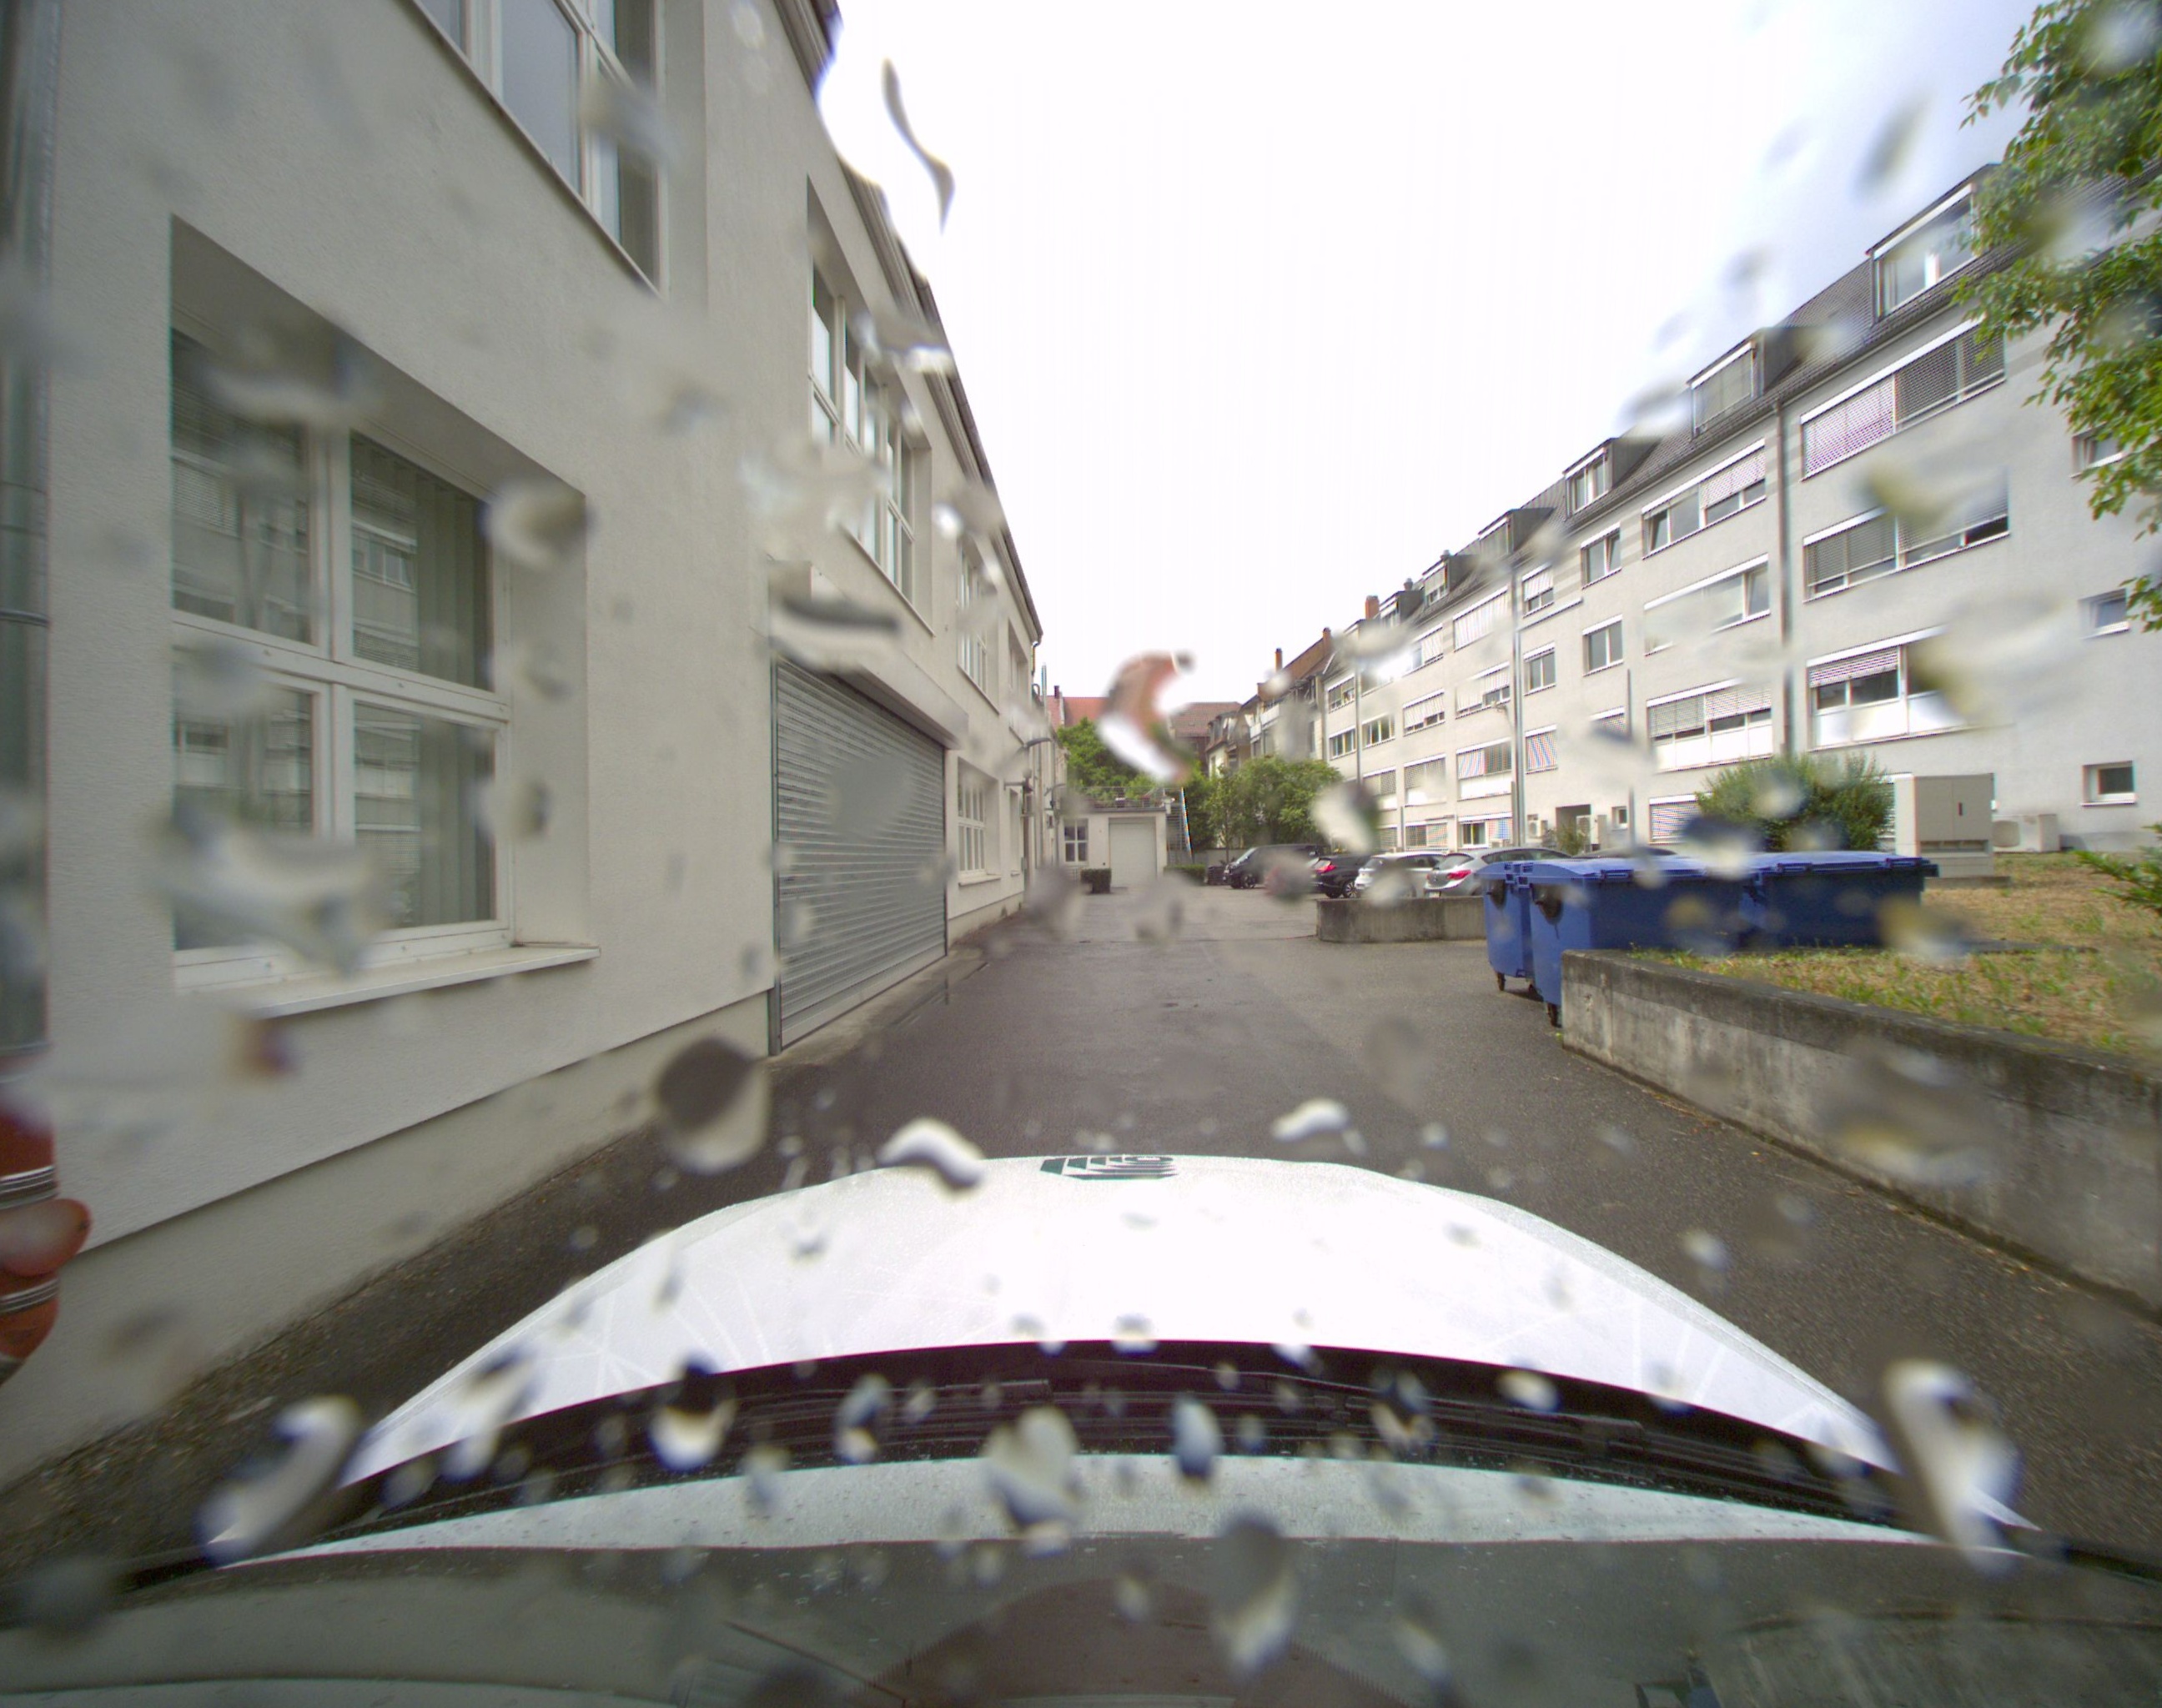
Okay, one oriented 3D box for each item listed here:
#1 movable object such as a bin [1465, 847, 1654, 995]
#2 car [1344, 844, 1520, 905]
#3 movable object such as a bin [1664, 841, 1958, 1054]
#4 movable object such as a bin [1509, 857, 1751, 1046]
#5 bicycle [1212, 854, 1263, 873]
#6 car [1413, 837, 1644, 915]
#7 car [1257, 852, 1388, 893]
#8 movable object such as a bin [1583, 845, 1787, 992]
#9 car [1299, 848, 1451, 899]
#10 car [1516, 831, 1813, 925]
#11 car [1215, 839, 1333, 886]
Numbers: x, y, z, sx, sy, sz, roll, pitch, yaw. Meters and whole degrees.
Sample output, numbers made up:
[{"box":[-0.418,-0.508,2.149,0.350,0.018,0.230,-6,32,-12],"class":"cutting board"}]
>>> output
[{"box":[4.659,0.618,8.034,1.225,1.317,1.056,-2,1,1],"class":"movable object such as a bin"},{"box":[9.698,0.552,22.685,4.087,1.455,1.831,-2,0,-2],"class":"car"},{"box":[5.484,0.644,6.235,1.270,1.483,1.102,0,1,1],"class":"movable object such as a bin"},{"box":[4.157,0.692,6.285,1.170,1.317,1.056,0,1,1],"class":"movable object such as a bin"},{"box":[8.954,0.546,46.625,2.835,1.078,0.689,0,1,-1],"class":"bicycle"},{"box":[9.559,0.467,17.596,4.069,1.458,1.667,-2,-1,-2],"class":"car"},{"box":[9.083,0.680,30.844,4.346,1.348,1.857,-2,0,-5],"class":"car"},{"box":[5.906,0.588,8.055,1.225,1.317,1.056,-2,1,1],"class":"movable object such as a bin"},{"box":[9.380,0.613,26.194,4.163,1.401,1.936,-2,-1,-5],"class":"car"},{"box":[10.280,0.405,14.588,3.972,1.354,1.791,-3,0,1],"class":"car"},{"box":[8.631,0.374,36.676,4.701,1.833,2.107,-2,0,-5],"class":"car"}]
